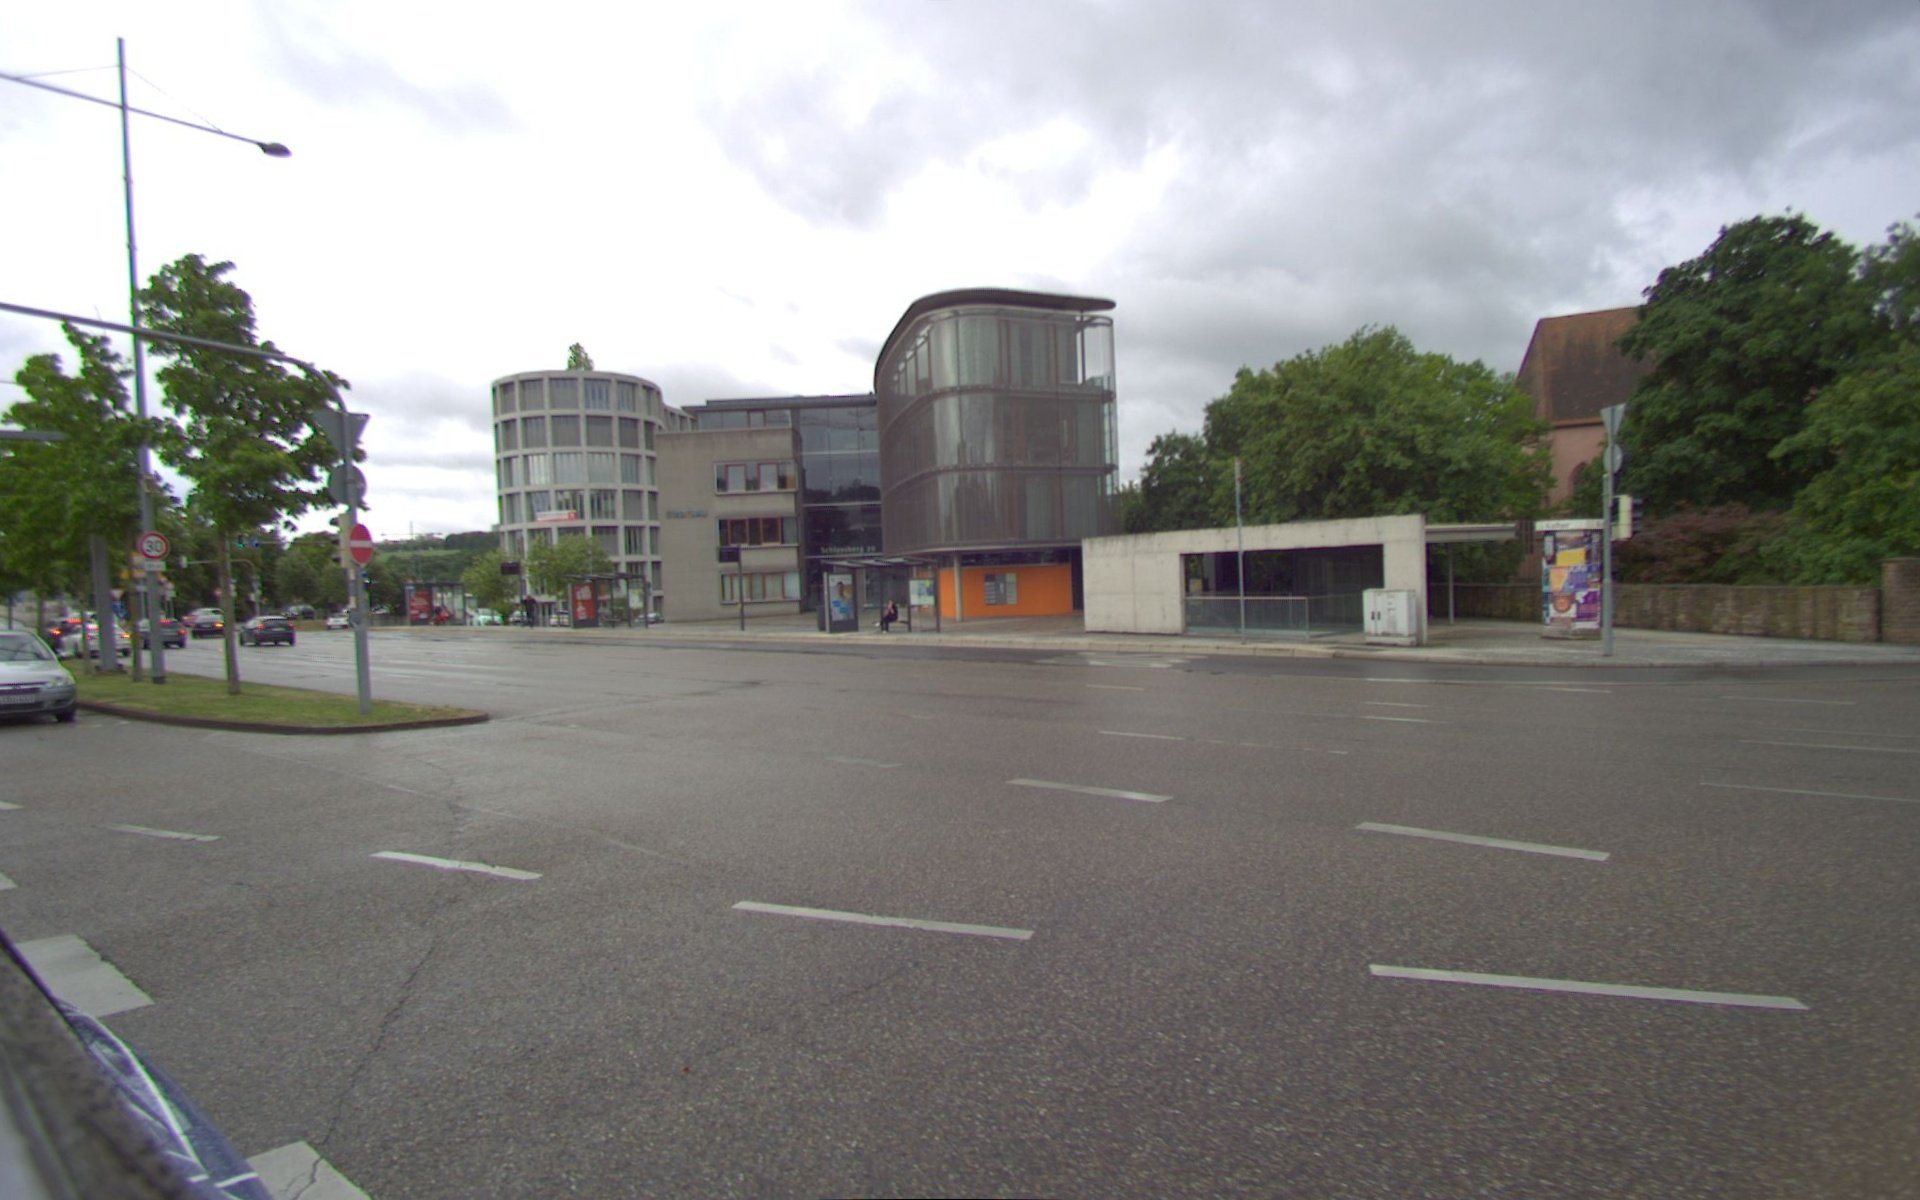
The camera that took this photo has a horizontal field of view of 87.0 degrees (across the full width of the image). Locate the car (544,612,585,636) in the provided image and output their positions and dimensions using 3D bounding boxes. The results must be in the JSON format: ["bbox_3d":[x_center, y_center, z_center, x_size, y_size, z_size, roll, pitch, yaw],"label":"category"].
[{"bbox_3d":[-29.640,1.748,75.925,1.848,1.715,4.163,-1,0,-6],"label":"car"}]

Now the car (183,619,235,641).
[{"bbox_3d":[-61.975,2.458,83.604,1.846,1.646,4.167,-1,-1,-11],"label":"car"}]

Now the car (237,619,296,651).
[{"bbox_3d":[-34.872,1.744,50.861,3.863,1.524,1.659,-1,-1,42],"label":"car"}]

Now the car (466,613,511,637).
[{"bbox_3d":[-35.108,1.806,75.444,1.848,1.715,4.163,0,-1,-6],"label":"car"}]

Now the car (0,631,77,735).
[{"bbox_3d":[-15.457,1.258,15.927,3.715,1.477,1.678,-1,-1,38],"label":"car"}]

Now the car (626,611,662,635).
[{"bbox_3d":[-23.841,1.717,76.495,1.848,1.715,4.163,0,-1,-6],"label":"car"}]

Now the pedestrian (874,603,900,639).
[{"bbox_3d":[-2.687,0.761,37.198,0.720,1.309,0.659,-1,-1,44],"label":"pedestrian"}]

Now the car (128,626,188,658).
[{"bbox_3d":[-40.579,2.090,51.187,4.451,1.477,1.676,-1,-1,42],"label":"car"}]

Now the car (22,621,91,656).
[{"bbox_3d":[-42.824,1.779,47.934,4.163,1.566,1.984,-1,-1,42],"label":"car"}]

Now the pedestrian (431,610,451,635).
[{"bbox_3d":[-32.096,1.392,62.545,0.969,1.501,0.735,0,-1,-41],"label":"pedestrian"}]

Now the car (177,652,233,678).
[{"bbox_3d":[-47.219,4.011,63.290,3.996,1.433,1.936,-1,-1,39],"label":"car"}]

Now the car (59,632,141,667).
[{"bbox_3d":[-36.941,2.077,43.435,4.160,1.363,1.985,-1,-1,39],"label":"car"}]

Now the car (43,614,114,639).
[{"bbox_3d":[-61.199,1.804,70.371,1.846,1.646,4.295,0,-1,-11],"label":"car"}]

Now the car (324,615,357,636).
[{"bbox_3d":[-51.898,2.114,84.851,1.928,1.630,4.222,0,-1,-26],"label":"car"}]

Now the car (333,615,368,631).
[{"bbox_3d":[-65.331,2.441,108.526,1.864,1.726,4.226,0,-1,-9],"label":"car"}]

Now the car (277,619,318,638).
[{"bbox_3d":[-63.601,2.686,97.233,1.864,1.726,4.227,0,-1,-11],"label":"car"}]

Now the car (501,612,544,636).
[{"bbox_3d":[-32.636,1.786,75.601,1.848,1.715,4.163,0,-1,-6],"label":"car"}]

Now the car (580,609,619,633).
[{"bbox_3d":[-27.190,1.563,76.487,1.848,1.715,4.163,0,-1,-6],"label":"car"}]

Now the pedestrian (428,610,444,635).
[{"bbox_3d":[-32.748,1.405,63.234,0.722,1.501,0.735,0,-1,-43],"label":"pedestrian"}]
